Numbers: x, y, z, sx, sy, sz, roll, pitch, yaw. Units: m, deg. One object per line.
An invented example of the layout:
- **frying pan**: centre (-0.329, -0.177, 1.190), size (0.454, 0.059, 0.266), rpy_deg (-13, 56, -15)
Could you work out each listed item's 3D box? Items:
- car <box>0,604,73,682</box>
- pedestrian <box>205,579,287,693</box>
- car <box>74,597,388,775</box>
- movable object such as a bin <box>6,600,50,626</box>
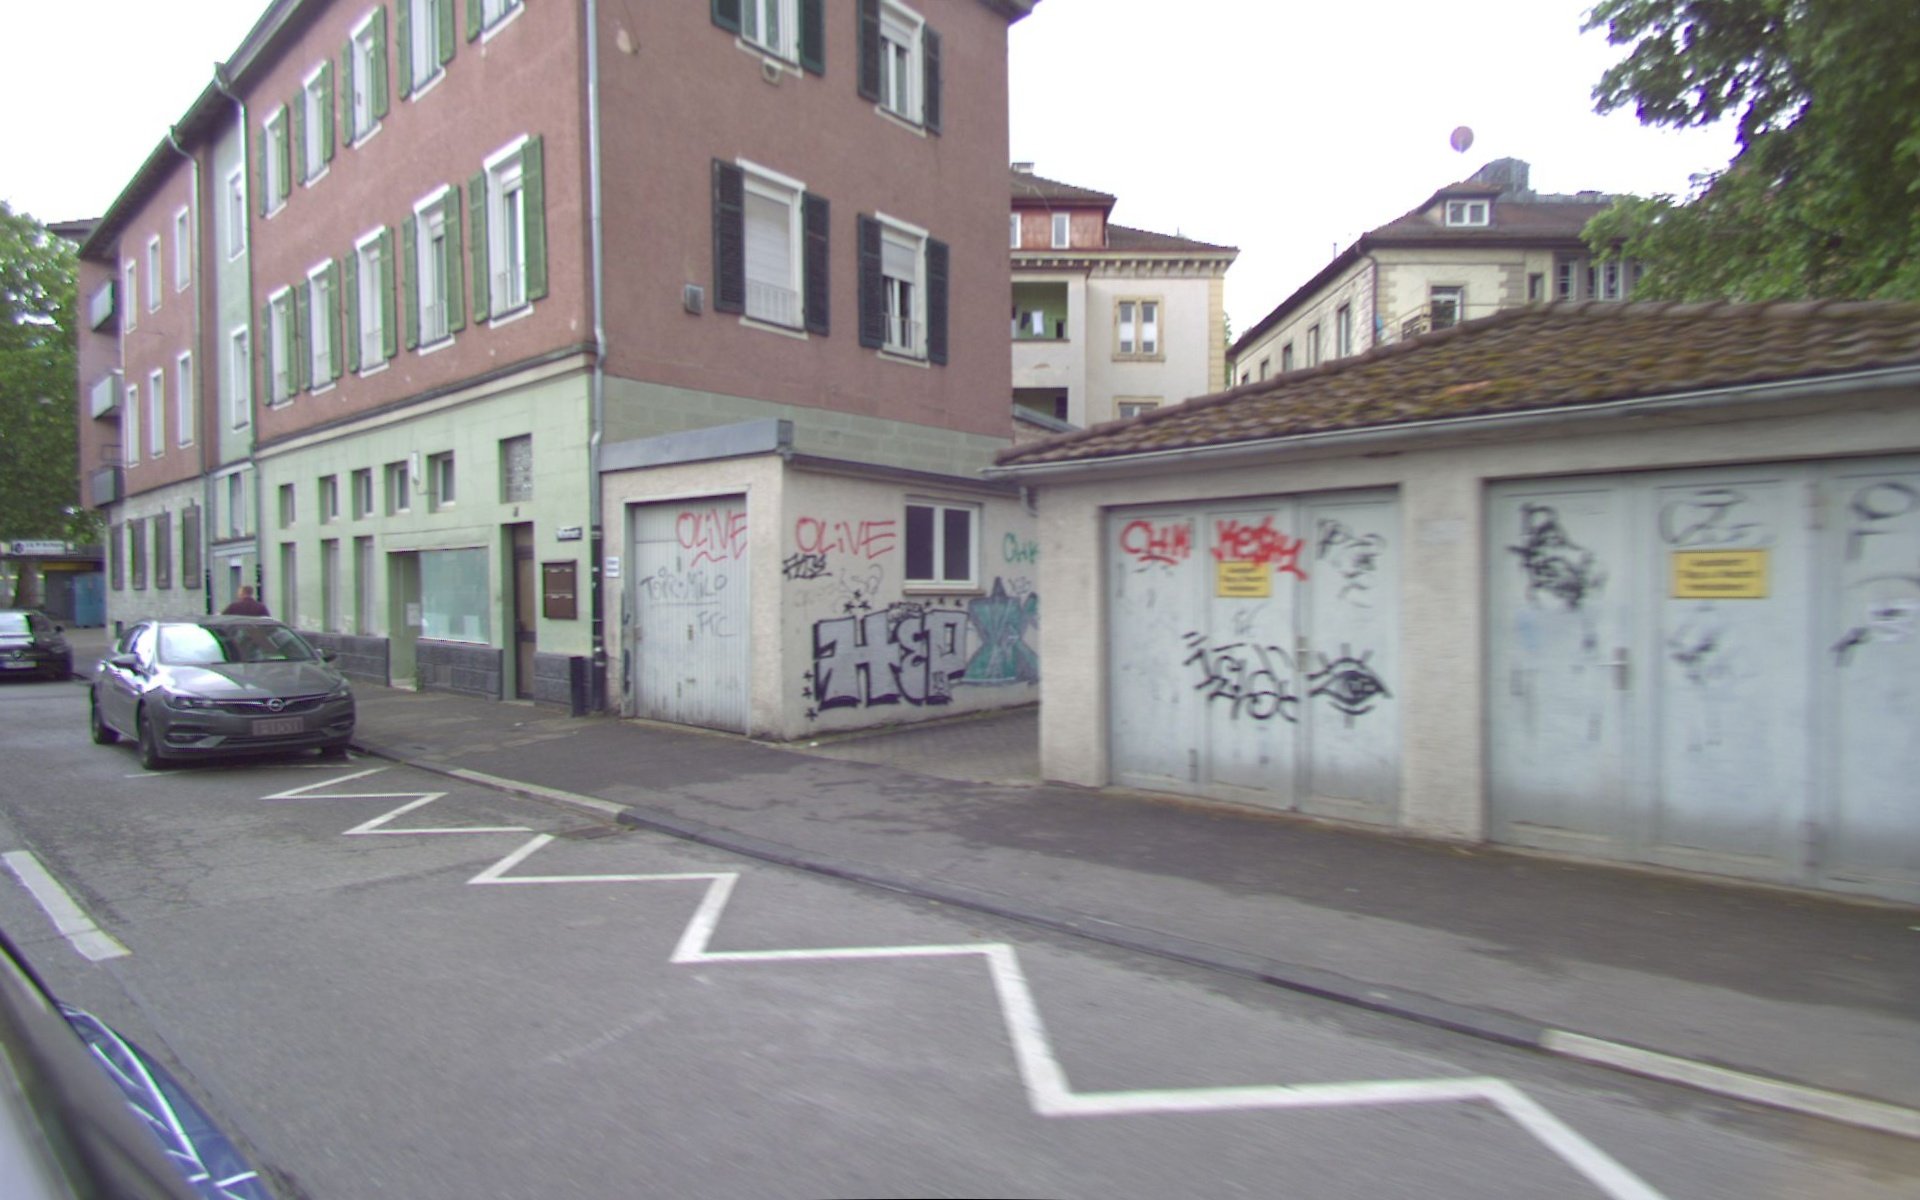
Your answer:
- **car**: centre (-20.679, 0.863, 21.744), size (4.919, 1.466, 1.810), rpy_deg (1, 1, 41)
- **pedestrian**: centre (-11.537, 0.571, 16.353), size (0.983, 1.757, 0.754), rpy_deg (-2, 1, 39)
- **car**: centre (-8.048, 0.786, 11.036), size (4.125, 1.497, 1.859), rpy_deg (-1, 2, 41)
- **movable object such as a bin**: centre (-37.349, 0.521, 40.568), size (1.063, 0.971, 0.674), rpy_deg (-2, 4, -2)
